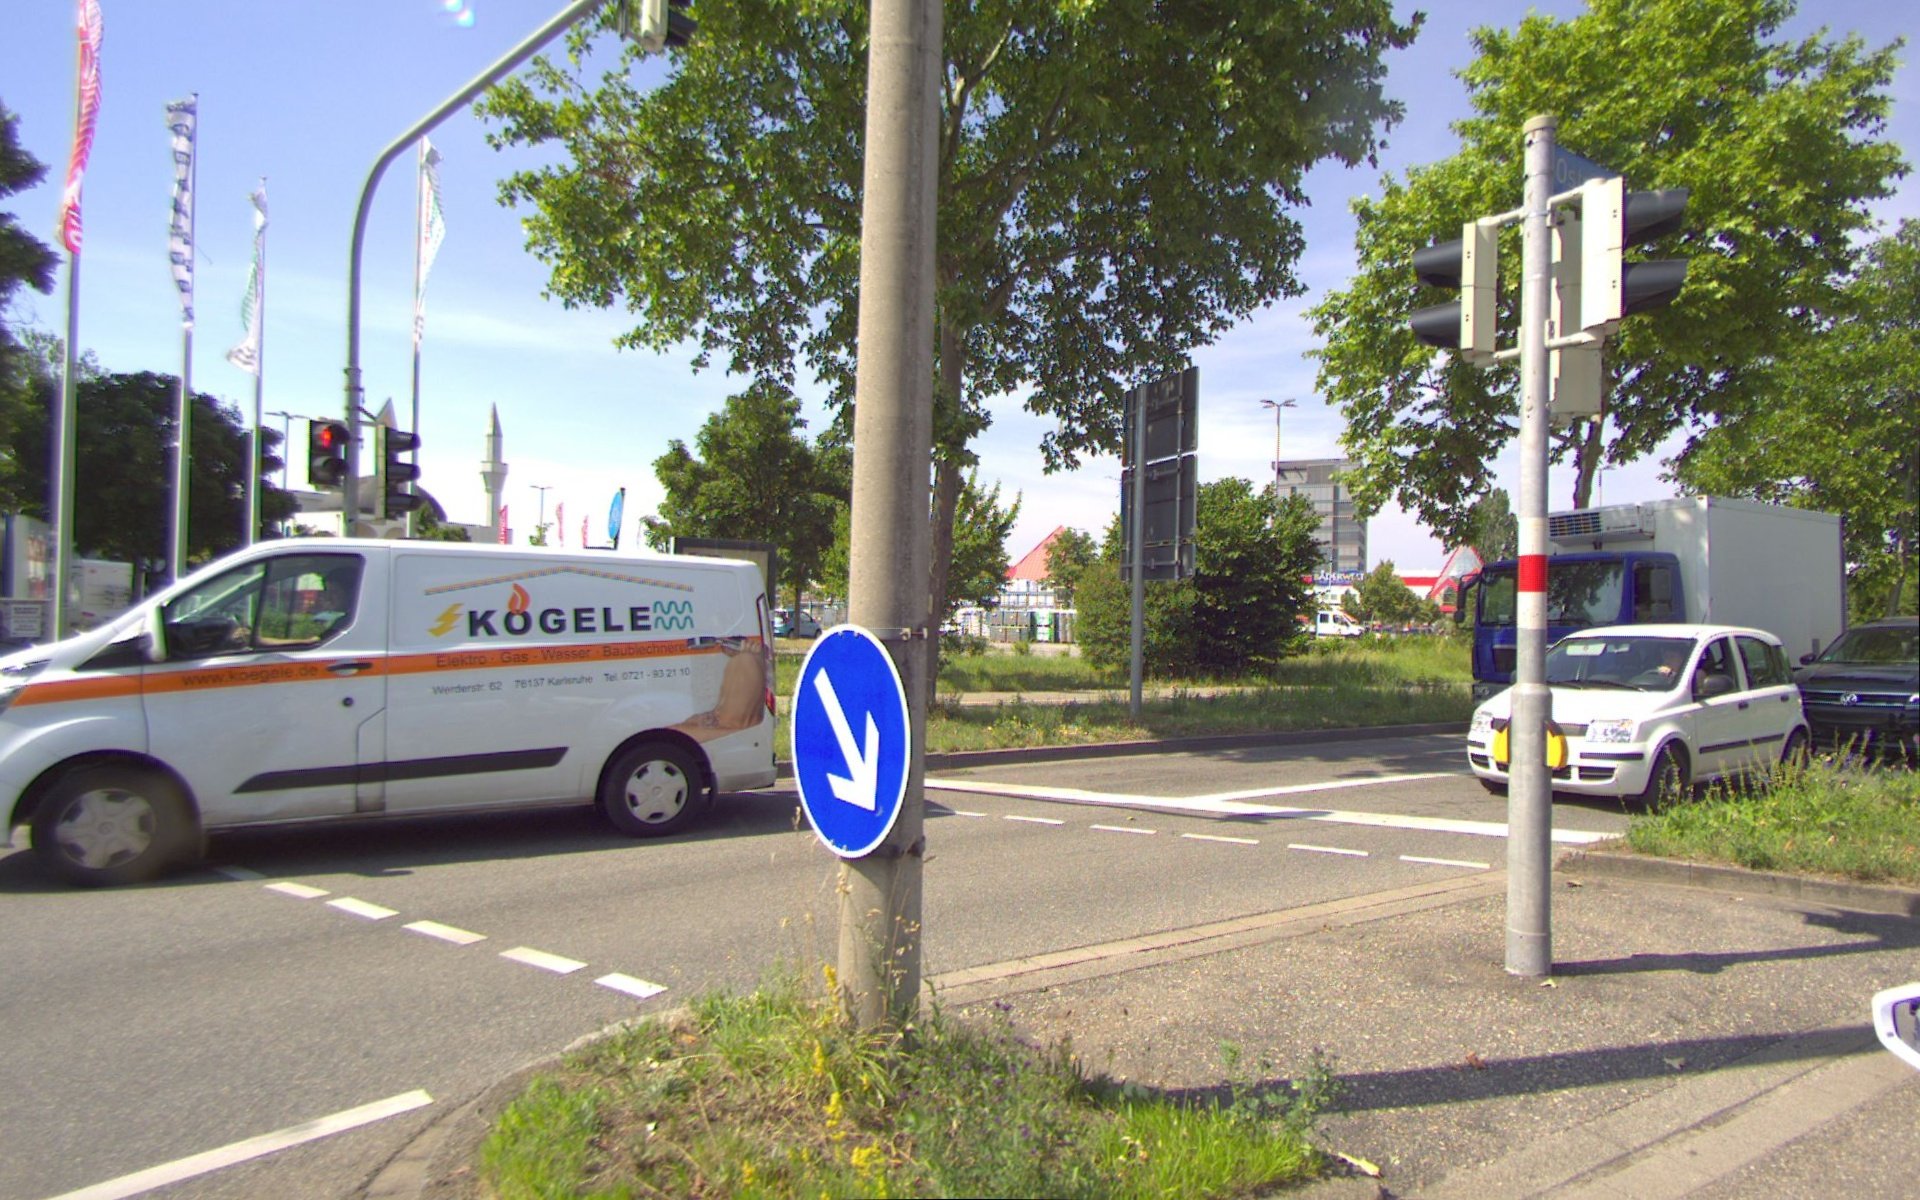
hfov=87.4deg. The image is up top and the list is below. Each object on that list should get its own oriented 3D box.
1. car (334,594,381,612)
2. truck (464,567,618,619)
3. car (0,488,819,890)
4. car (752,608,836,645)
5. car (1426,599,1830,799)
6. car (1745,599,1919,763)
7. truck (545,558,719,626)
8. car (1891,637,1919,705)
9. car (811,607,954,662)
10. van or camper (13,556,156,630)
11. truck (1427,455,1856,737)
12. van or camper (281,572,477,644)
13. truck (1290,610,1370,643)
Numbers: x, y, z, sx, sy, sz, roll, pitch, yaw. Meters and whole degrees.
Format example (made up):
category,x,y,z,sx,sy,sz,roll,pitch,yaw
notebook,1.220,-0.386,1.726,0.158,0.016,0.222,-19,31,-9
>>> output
category,x,y,z,sx,sy,sz,roll,pitch,yaw
car,-65.354,0.341,108.934,1.814,1.817,3.994,1,-1,28
truck,-25.316,-0.446,60.545,9.432,2.930,2.924,1,-1,25
car,-3.655,0.530,6.900,4.972,2.025,1.968,2,-3,-30
car,-7.795,1.245,47.501,1.787,1.593,4.276,1,-1,25
car,6.129,0.805,9.156,3.684,1.496,1.586,2,-2,-29
car,11.496,0.938,11.919,4.638,1.668,1.812,3,-2,-29
truck,-17.149,-0.418,52.476,8.755,3.355,3.158,1,-1,24
car,22.571,1.568,22.465,3.502,1.471,1.558,2,-3,-29
car,-2.378,0.968,29.625,2.179,1.433,4.531,2,-1,-36
van or camper,-39.641,-0.321,45.453,6.208,3.142,2.709,2,0,27
truck,10.531,0.053,15.397,6.611,3.517,2.792,1,-2,-30
van or camper,-19.747,0.296,34.496,2.155,2.239,5.512,1,-1,27
truck,25.714,1.802,69.872,5.123,2.156,2.000,1,-1,21
